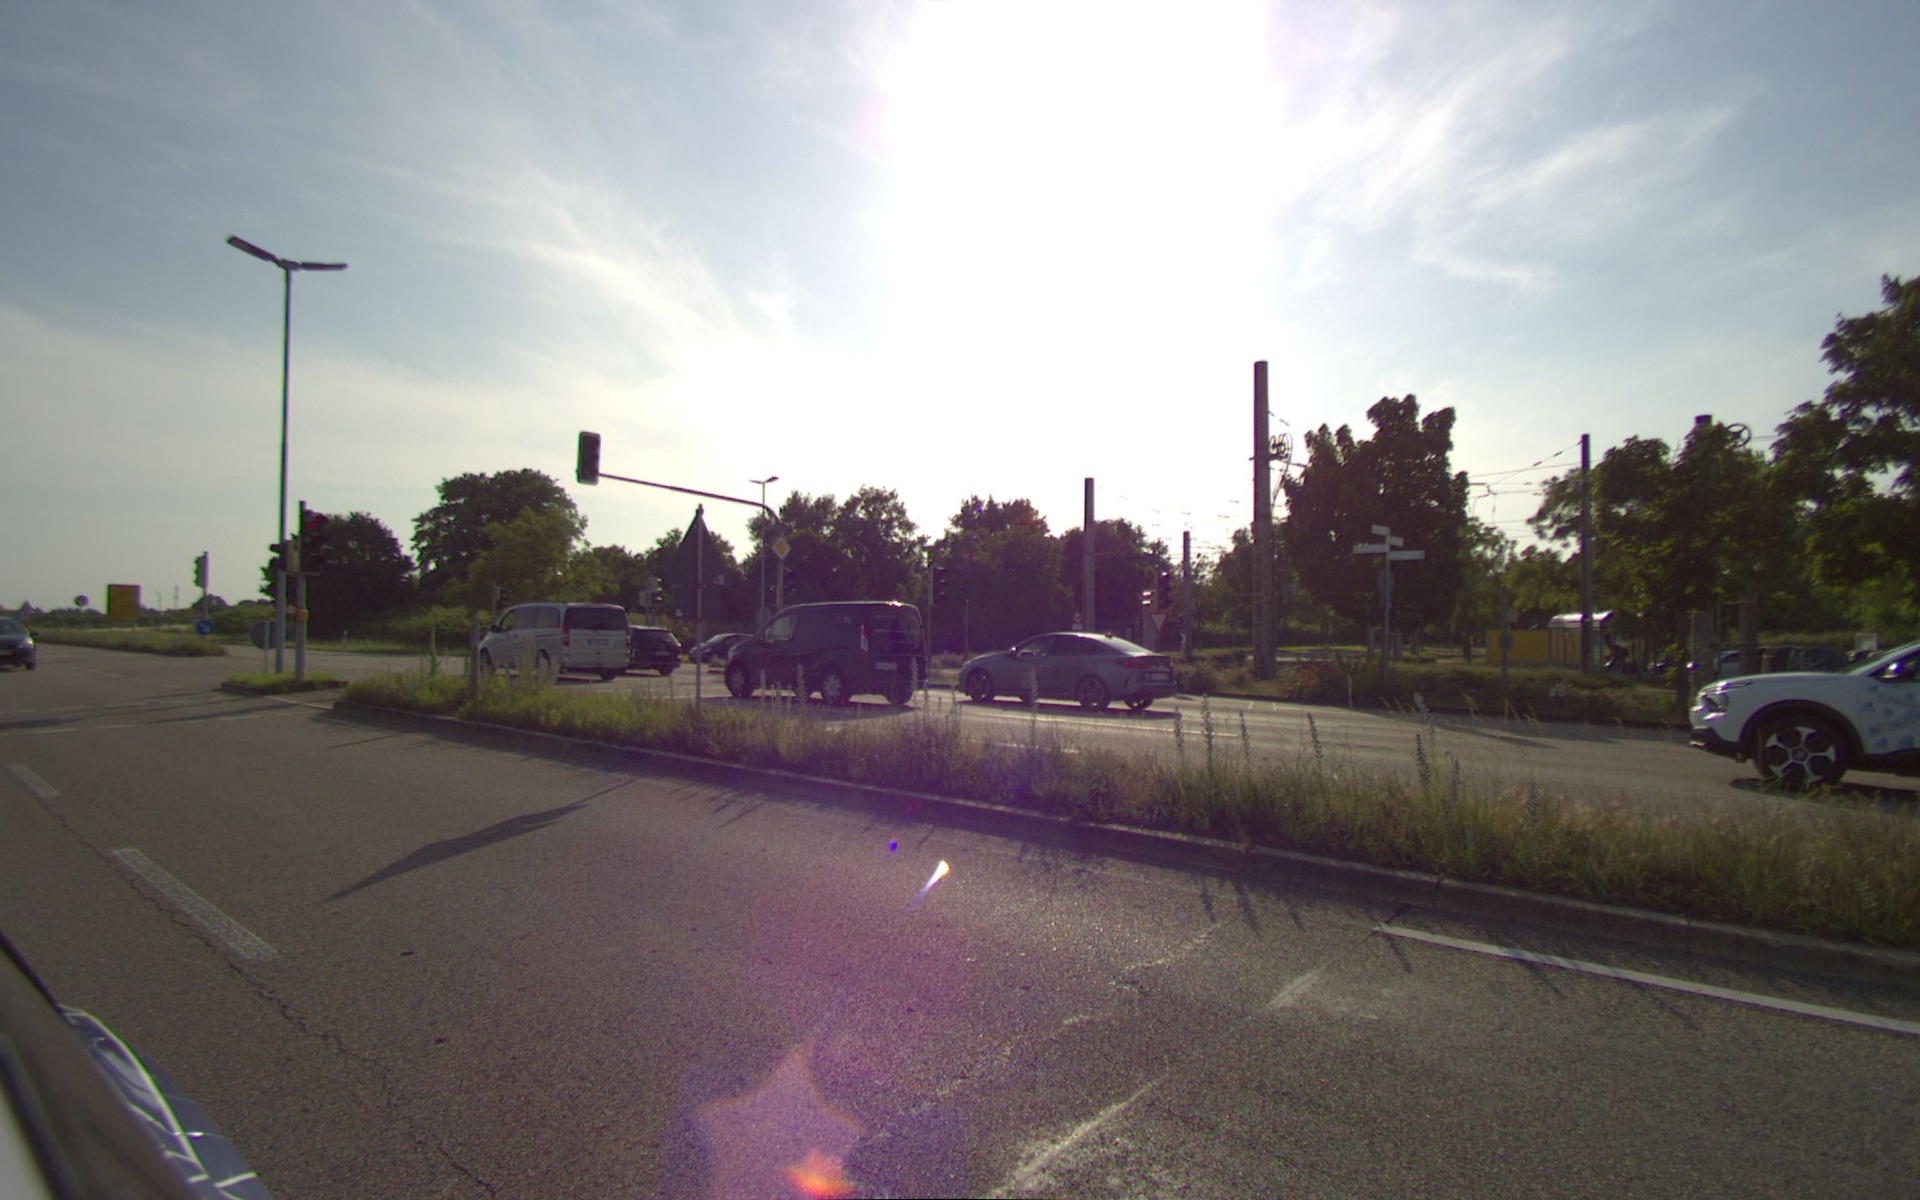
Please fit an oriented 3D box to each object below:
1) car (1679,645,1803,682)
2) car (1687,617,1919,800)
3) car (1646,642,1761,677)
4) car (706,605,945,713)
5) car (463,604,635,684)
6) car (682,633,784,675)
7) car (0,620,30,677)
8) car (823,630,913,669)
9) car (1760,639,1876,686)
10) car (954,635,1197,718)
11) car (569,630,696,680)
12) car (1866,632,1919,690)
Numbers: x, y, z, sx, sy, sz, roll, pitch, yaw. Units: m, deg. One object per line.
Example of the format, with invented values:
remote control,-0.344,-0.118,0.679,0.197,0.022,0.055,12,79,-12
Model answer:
car,35.473,2.889,46.081,3.959,1.549,1.992,-1,0,12
car,9.105,0.939,8.624,4.582,1.519,1.733,-1,-4,42
car,35.889,2.872,48.944,3.959,1.549,1.992,-1,0,12
car,-2.577,1.036,18.653,4.528,1.759,1.838,-1,-4,42
car,-10.540,1.098,25.780,5.077,1.843,1.972,-1,-4,42
car,-11.543,2.705,51.734,2.250,1.901,4.786,-1,0,36
car,-27.227,1.329,28.157,3.999,1.520,1.615,-1,0,42
car,-4.917,2.624,54.838,2.250,1.901,4.786,-1,0,36
car,30.468,2.170,36.077,1.820,1.431,3.974,-1,0,20
car,2.123,1.406,19.387,4.372,1.355,1.838,-1,-4,42
car,-9.758,1.618,30.036,3.959,1.355,1.838,-1,-4,42
car,34.242,2.169,36.557,3.619,1.892,1.837,-1,0,-42
